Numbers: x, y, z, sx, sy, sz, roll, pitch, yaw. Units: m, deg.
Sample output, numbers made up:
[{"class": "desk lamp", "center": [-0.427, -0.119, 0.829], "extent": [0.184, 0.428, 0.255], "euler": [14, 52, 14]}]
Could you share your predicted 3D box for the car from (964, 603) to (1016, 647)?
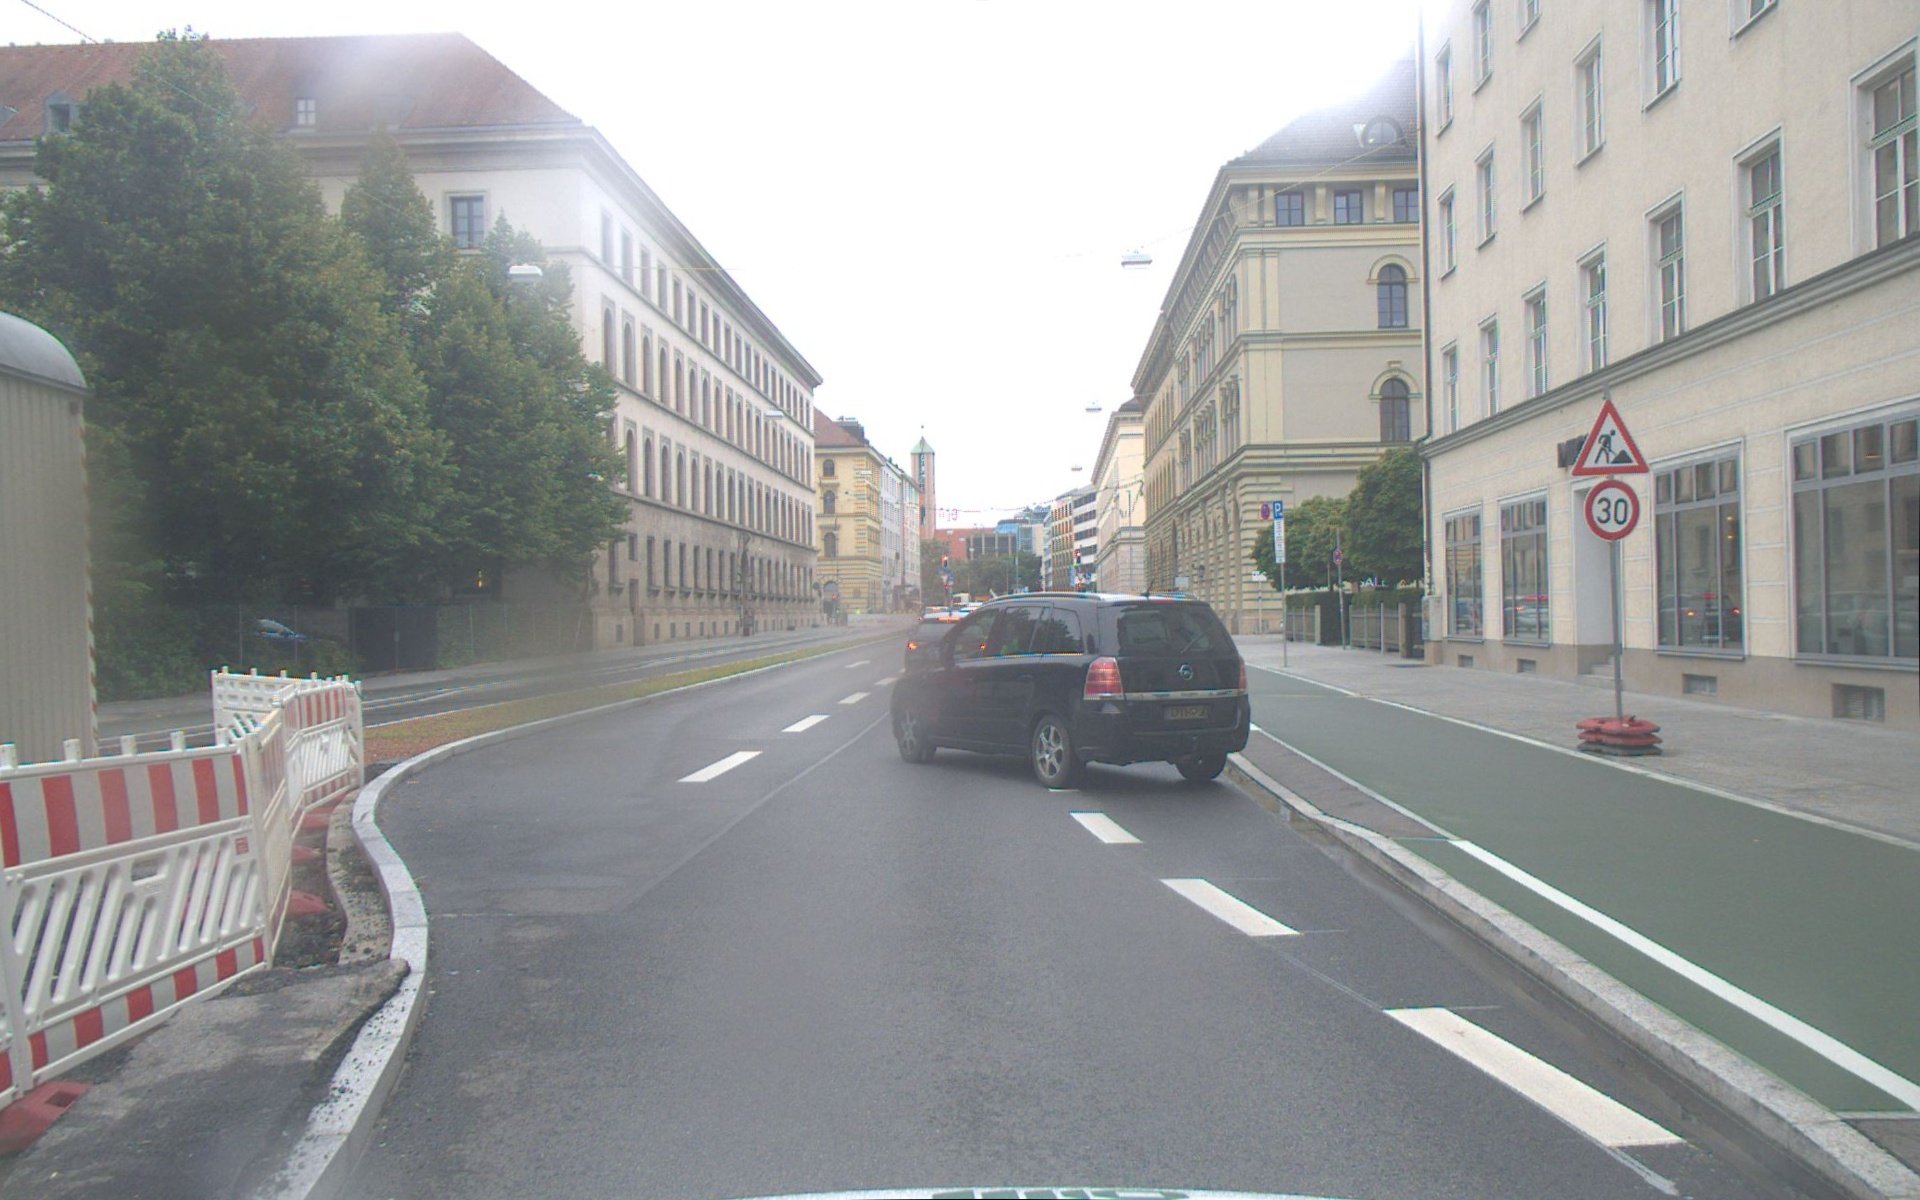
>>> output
[{"class": "car", "center": [1.094, 0.841, 58.120], "extent": [1.694, 1.486, 4.001], "euler": [0, 0, 3]}]

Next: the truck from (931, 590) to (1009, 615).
[{"class": "truck", "center": [0.965, 0.226, 156.096], "extent": [7.230, 2.292, 2.180], "euler": [1, -1, 5]}]

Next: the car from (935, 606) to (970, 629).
[{"class": "car", "center": [-0.468, 1.113, 106.383], "extent": [1.952, 1.469, 4.001], "euler": [-1, 0, 3]}]

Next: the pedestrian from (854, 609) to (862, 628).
[{"class": "pedestrian", "center": [-10.035, 1.842, 162.485], "extent": [0.642, 1.836, 0.727], "euler": [-1, 0, 2]}]

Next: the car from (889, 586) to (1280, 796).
[{"class": "car", "center": [0.982, 0.717, 15.171], "extent": [1.745, 1.644, 3.992], "euler": [0, 0, -28]}]

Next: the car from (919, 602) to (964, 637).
[{"class": "car", "center": [-0.907, 0.949, 81.842], "extent": [1.952, 1.656, 4.001], "euler": [-1, 0, 3]}]

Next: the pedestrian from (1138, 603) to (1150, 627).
[{"class": "pedestrian", "center": [12.630, 1.016, 113.638], "extent": [0.695, 1.646, 0.754], "euler": [-1, 0, 2]}]

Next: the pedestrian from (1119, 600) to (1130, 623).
[{"class": "pedestrian", "center": [11.874, 0.855, 119.151], "extent": [0.695, 1.646, 0.754], "euler": [-1, 0, 2]}]

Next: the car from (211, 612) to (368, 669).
[{"class": "car", "center": [-21.178, 1.263, 52.350], "extent": [4.173, 1.678, 1.805], "euler": [-1, 0, 3]}]

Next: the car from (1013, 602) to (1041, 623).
[{"class": "car", "center": [4.888, 0.896, 120.480], "extent": [1.952, 1.469, 4.001], "euler": [-1, 0, 3]}]

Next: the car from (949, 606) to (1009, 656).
[{"class": "car", "center": [0.606, 0.915, 50.320], "extent": [1.694, 1.427, 4.001], "euler": [0, 0, 3]}]

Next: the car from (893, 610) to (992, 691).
[{"class": "car", "center": [-0.277, 0.930, 32.058], "extent": [1.694, 1.427, 4.001], "euler": [0, 0, 3]}]
